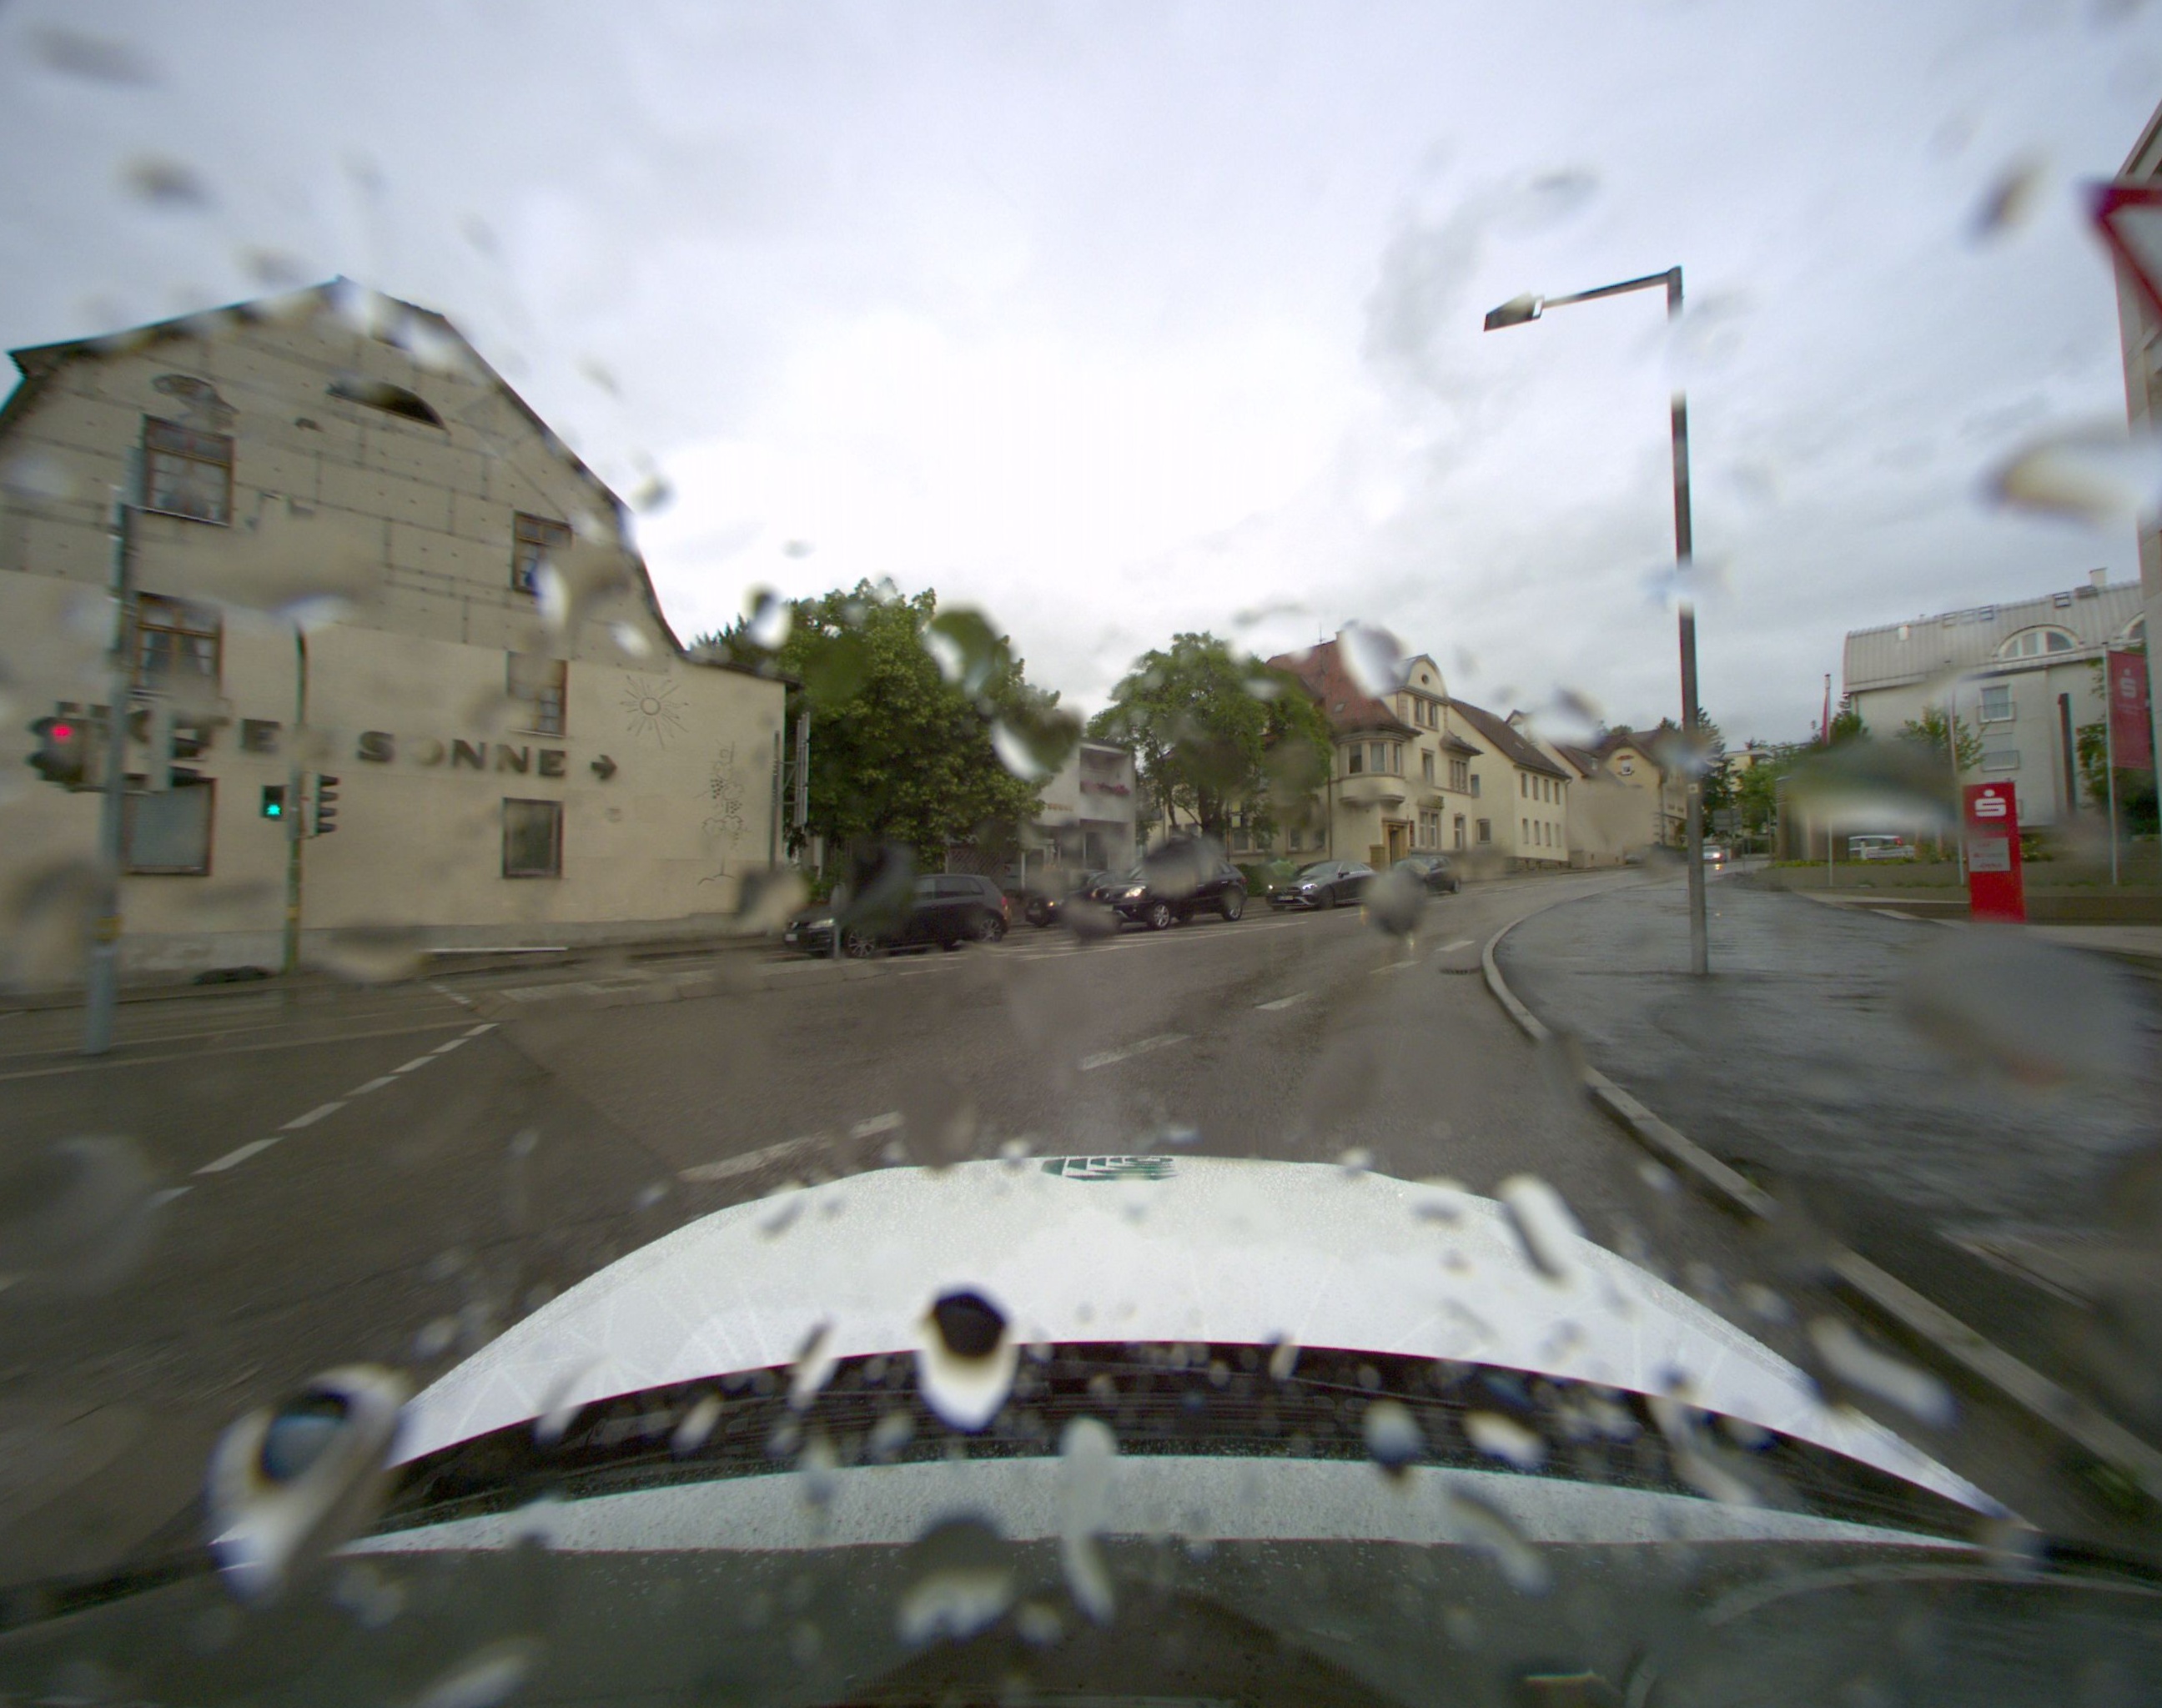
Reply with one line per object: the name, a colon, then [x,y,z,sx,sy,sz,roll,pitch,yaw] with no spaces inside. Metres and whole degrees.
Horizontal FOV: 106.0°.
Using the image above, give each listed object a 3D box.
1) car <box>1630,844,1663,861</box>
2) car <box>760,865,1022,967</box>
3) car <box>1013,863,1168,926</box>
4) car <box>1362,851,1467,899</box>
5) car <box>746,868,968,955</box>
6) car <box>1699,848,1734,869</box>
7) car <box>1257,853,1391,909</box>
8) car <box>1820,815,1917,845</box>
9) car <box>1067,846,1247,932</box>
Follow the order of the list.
car: [50.880,-0.140,73.281,3.249,1.453,1.676,-1,0,-41]
car: [-3.342,1.046,14.920,4.341,1.504,1.756,-1,-3,-44]
car: [0.334,1.104,22.846,4.209,1.519,1.757,-1,-3,-43]
car: [11.914,0.724,28.955,4.209,1.452,1.757,-1,-3,-43]
car: [-4.696,1.167,17.470,4.209,1.519,1.757,-1,-3,-43]
car: [51.009,0.321,65.363,3.249,1.598,1.614,-1,0,-41]
car: [7.486,0.803,24.816,4.565,1.452,1.757,-1,-3,-43]
car: [37.631,-1.129,38.971,1.705,1.288,3.193,-1,0,-41]
car: [1.901,0.788,19.539,4.340,1.815,1.757,-1,-3,-43]
